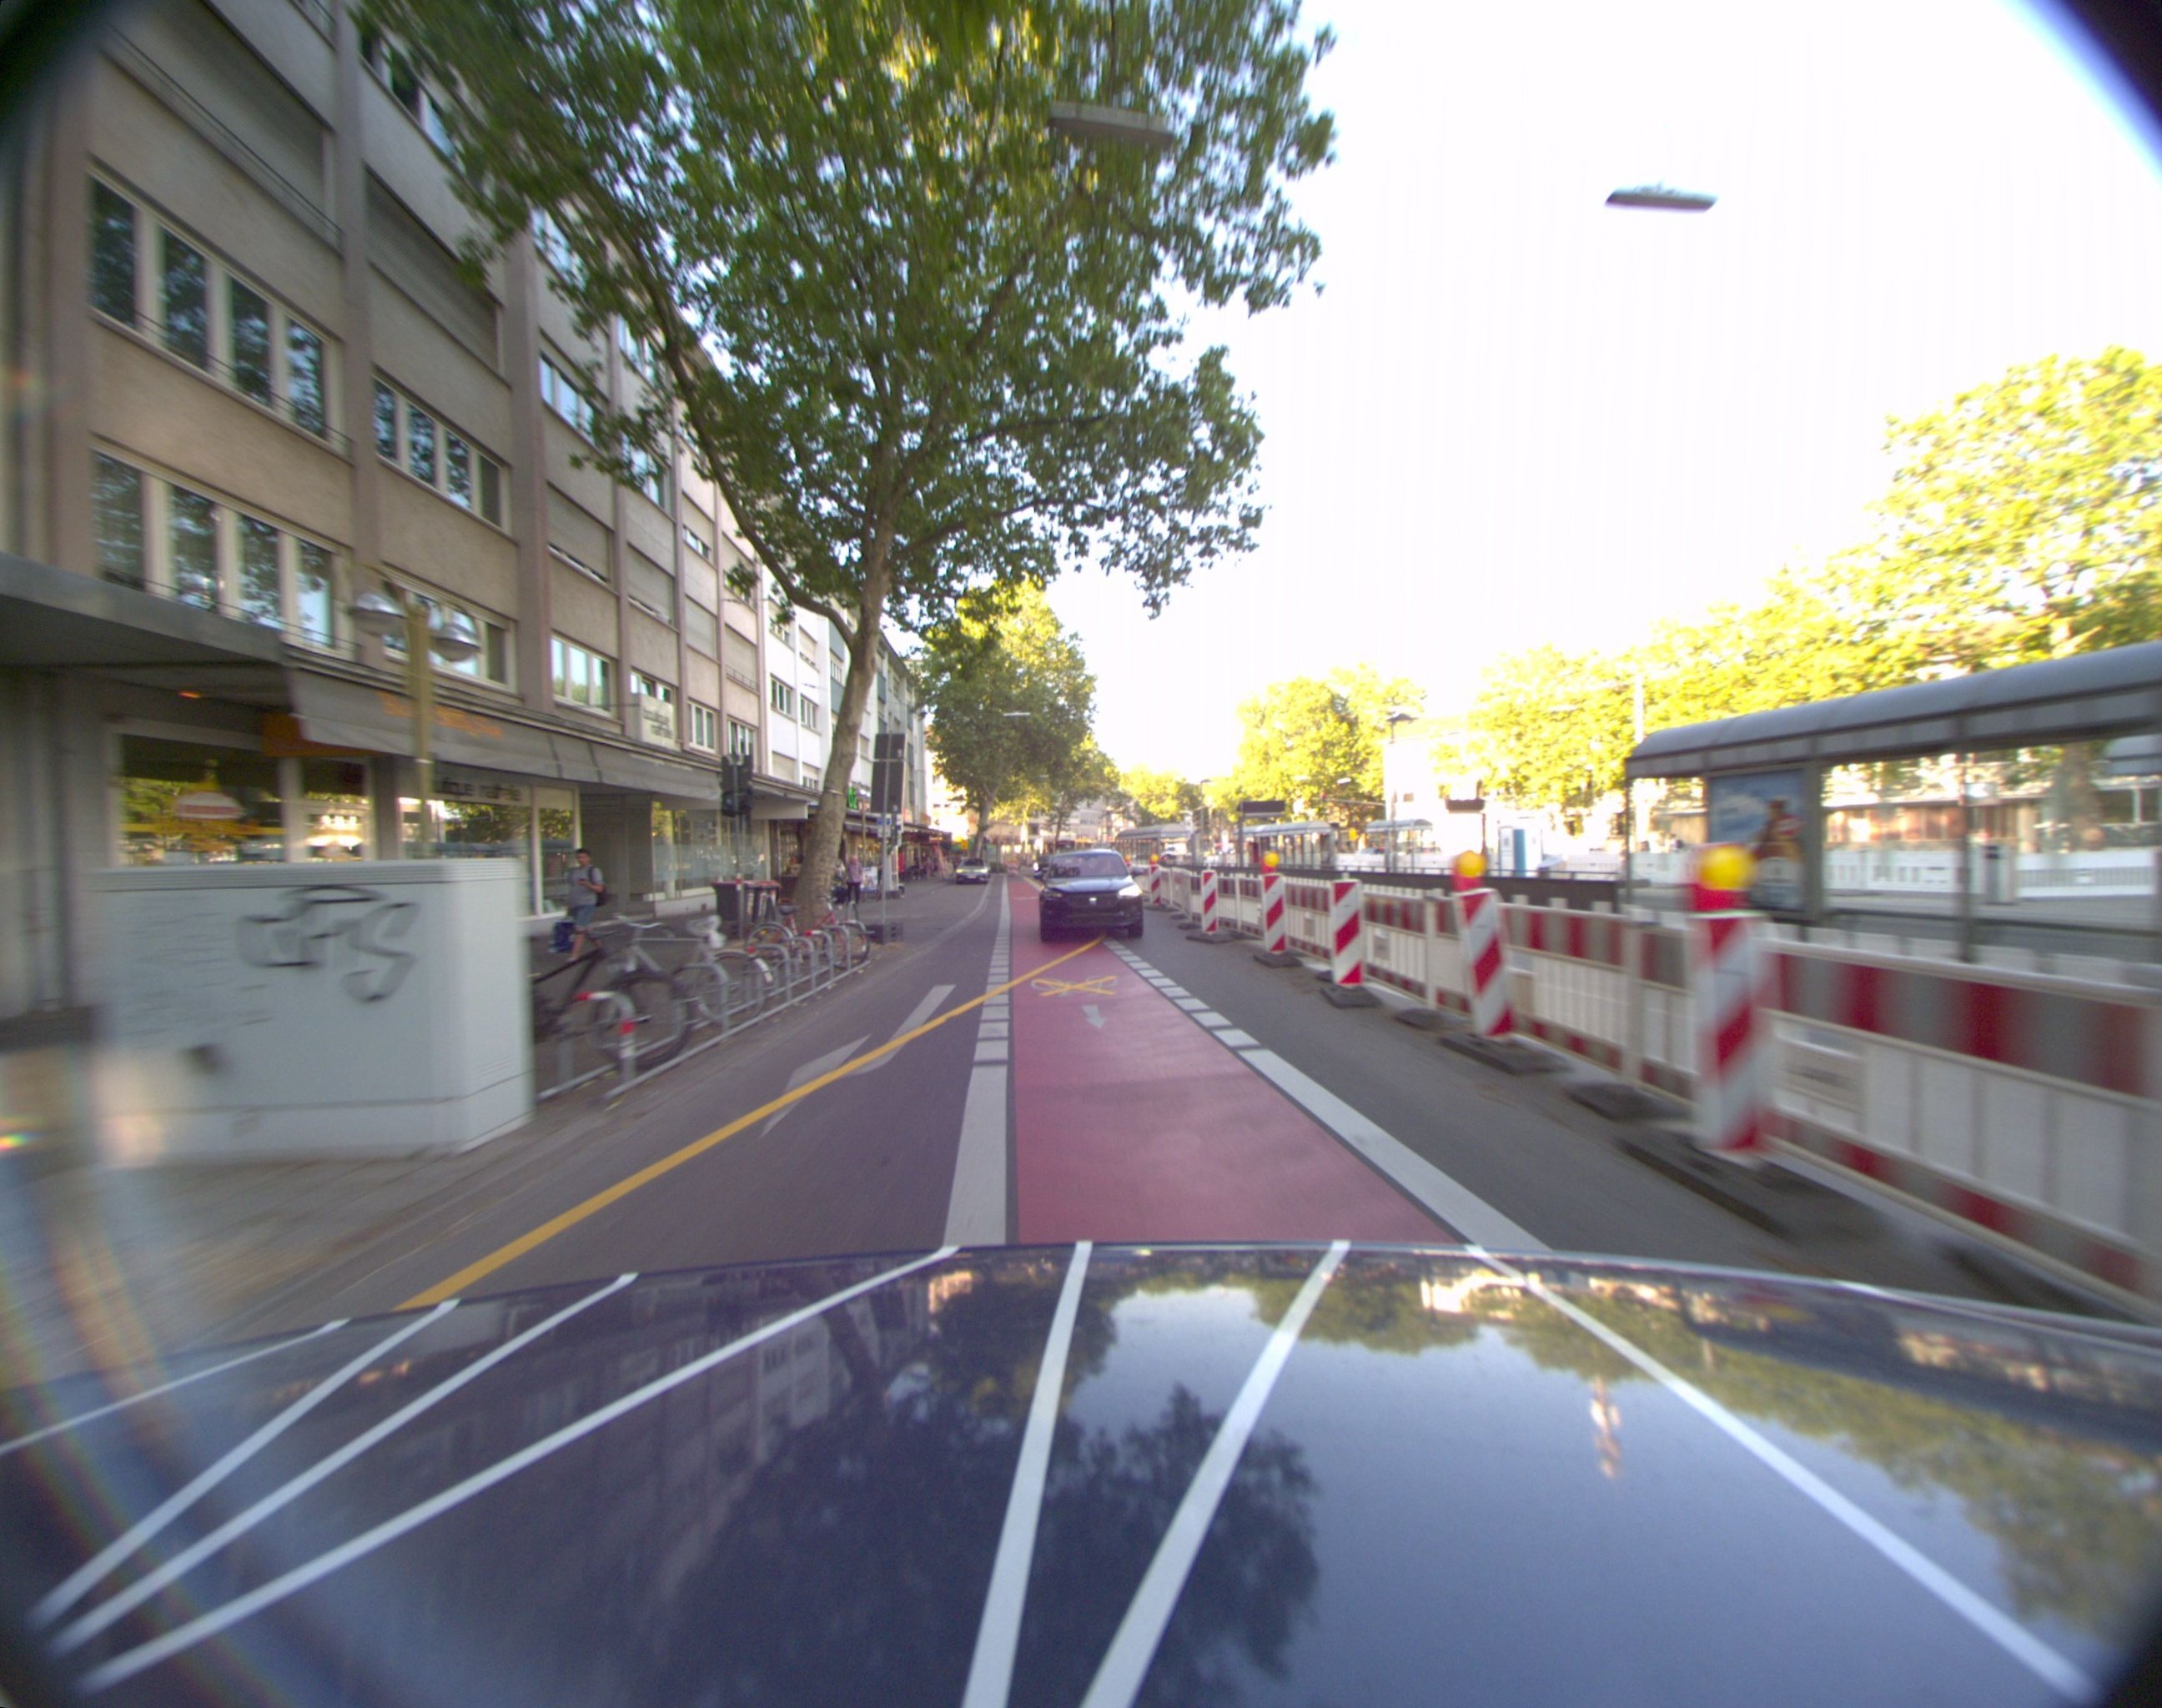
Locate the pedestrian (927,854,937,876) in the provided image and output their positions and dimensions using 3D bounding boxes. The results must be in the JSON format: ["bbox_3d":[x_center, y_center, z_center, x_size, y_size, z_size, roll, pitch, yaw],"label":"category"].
[{"bbox_3d":[-10.459,0.763,53.447,0.584,1.551,0.642,0,1,-2],"label":"pedestrian"}]

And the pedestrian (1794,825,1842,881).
[{"bbox_3d":[27.152,-0.035,28.002,0.887,2.002,0.883,-2,1,-2],"label":"pedestrian"}]

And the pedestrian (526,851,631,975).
[{"bbox_3d":[-7.048,0.795,10.712,0.846,1.663,0.989,0,1,-4],"label":"pedestrian"}]

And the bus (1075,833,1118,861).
[{"bbox_3d":[2.184,-0.966,97.831,2.735,3.188,12.373,-4,0,14],"label":"bus"}]

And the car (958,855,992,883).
[{"bbox_3d":[-6.418,0.861,46.417,1.924,1.588,4.788,-1,0,-7],"label":"car"}]

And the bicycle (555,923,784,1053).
[{"bbox_3d":[-3.718,1.195,6.962,1.718,1.052,0.644,0,1,-2],"label":"bicycle"}]

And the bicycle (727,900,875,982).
[{"bbox_3d":[-3.809,1.179,10.453,1.794,1.016,0.643,-1,1,-6],"label":"bicycle"}]

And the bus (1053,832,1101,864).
[{"bbox_3d":[-0.240,-0.707,86.917,2.735,3.188,12.316,-4,0,12],"label":"bus"}]

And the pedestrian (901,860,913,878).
[{"bbox_3d":[-11.450,0.968,50.075,0.678,1.170,0.710,-1,1,-4],"label":"pedestrian"}]

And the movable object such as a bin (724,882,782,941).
[{"bbox_3d":[-6.480,1.116,15.069,0.676,1.069,1.227,1,0,-4],"label":"movable object such as a bin"}]

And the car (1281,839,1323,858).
[{"bbox_3d":[19.371,-0.499,66.734,1.685,1.565,3.384,-3,1,-27],"label":"car"}]

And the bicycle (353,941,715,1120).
[{"bbox_3d":[-3.859,1.227,5.528,1.993,1.052,0.770,-1,1,-6],"label":"bicycle"}]

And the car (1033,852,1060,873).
[{"bbox_3d":[-2.817,0.685,61.666,1.999,1.575,4.618,-3,0,-3],"label":"car"}]

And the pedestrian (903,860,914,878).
[{"bbox_3d":[-11.745,1.015,51.834,0.646,1.258,0.606,-1,1,-4],"label":"pedestrian"}]

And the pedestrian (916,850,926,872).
[{"bbox_3d":[-12.964,0.570,61.477,0.710,1.699,0.677,-2,1,-10],"label":"pedestrian"}]

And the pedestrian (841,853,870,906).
[{"bbox_3d":[-7.318,0.822,24.637,0.649,1.664,0.554,-3,2,-39],"label":"pedestrian"}]

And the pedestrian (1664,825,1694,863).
[{"bbox_3d":[32.285,-0.549,41.004,0.884,2.002,0.886,-2,1,-12],"label":"pedestrian"}]

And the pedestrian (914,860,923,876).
[{"bbox_3d":[-11.542,0.998,53.907,0.520,1.127,0.507,-1,1,-26],"label":"pedestrian"}]

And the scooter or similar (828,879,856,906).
[{"bbox_3d":[-7.858,1.263,24.983,0.731,0.839,0.578,-1,1,40],"label":"scooter or similar"}]

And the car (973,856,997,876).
[{"bbox_3d":[-7.658,0.943,60.627,1.660,1.471,3.799,-1,0,-4],"label":"car"}]

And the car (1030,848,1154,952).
[{"bbox_3d":[0.158,0.753,14.804,1.999,1.638,4.203,-3,0,-1],"label":"car"}]
